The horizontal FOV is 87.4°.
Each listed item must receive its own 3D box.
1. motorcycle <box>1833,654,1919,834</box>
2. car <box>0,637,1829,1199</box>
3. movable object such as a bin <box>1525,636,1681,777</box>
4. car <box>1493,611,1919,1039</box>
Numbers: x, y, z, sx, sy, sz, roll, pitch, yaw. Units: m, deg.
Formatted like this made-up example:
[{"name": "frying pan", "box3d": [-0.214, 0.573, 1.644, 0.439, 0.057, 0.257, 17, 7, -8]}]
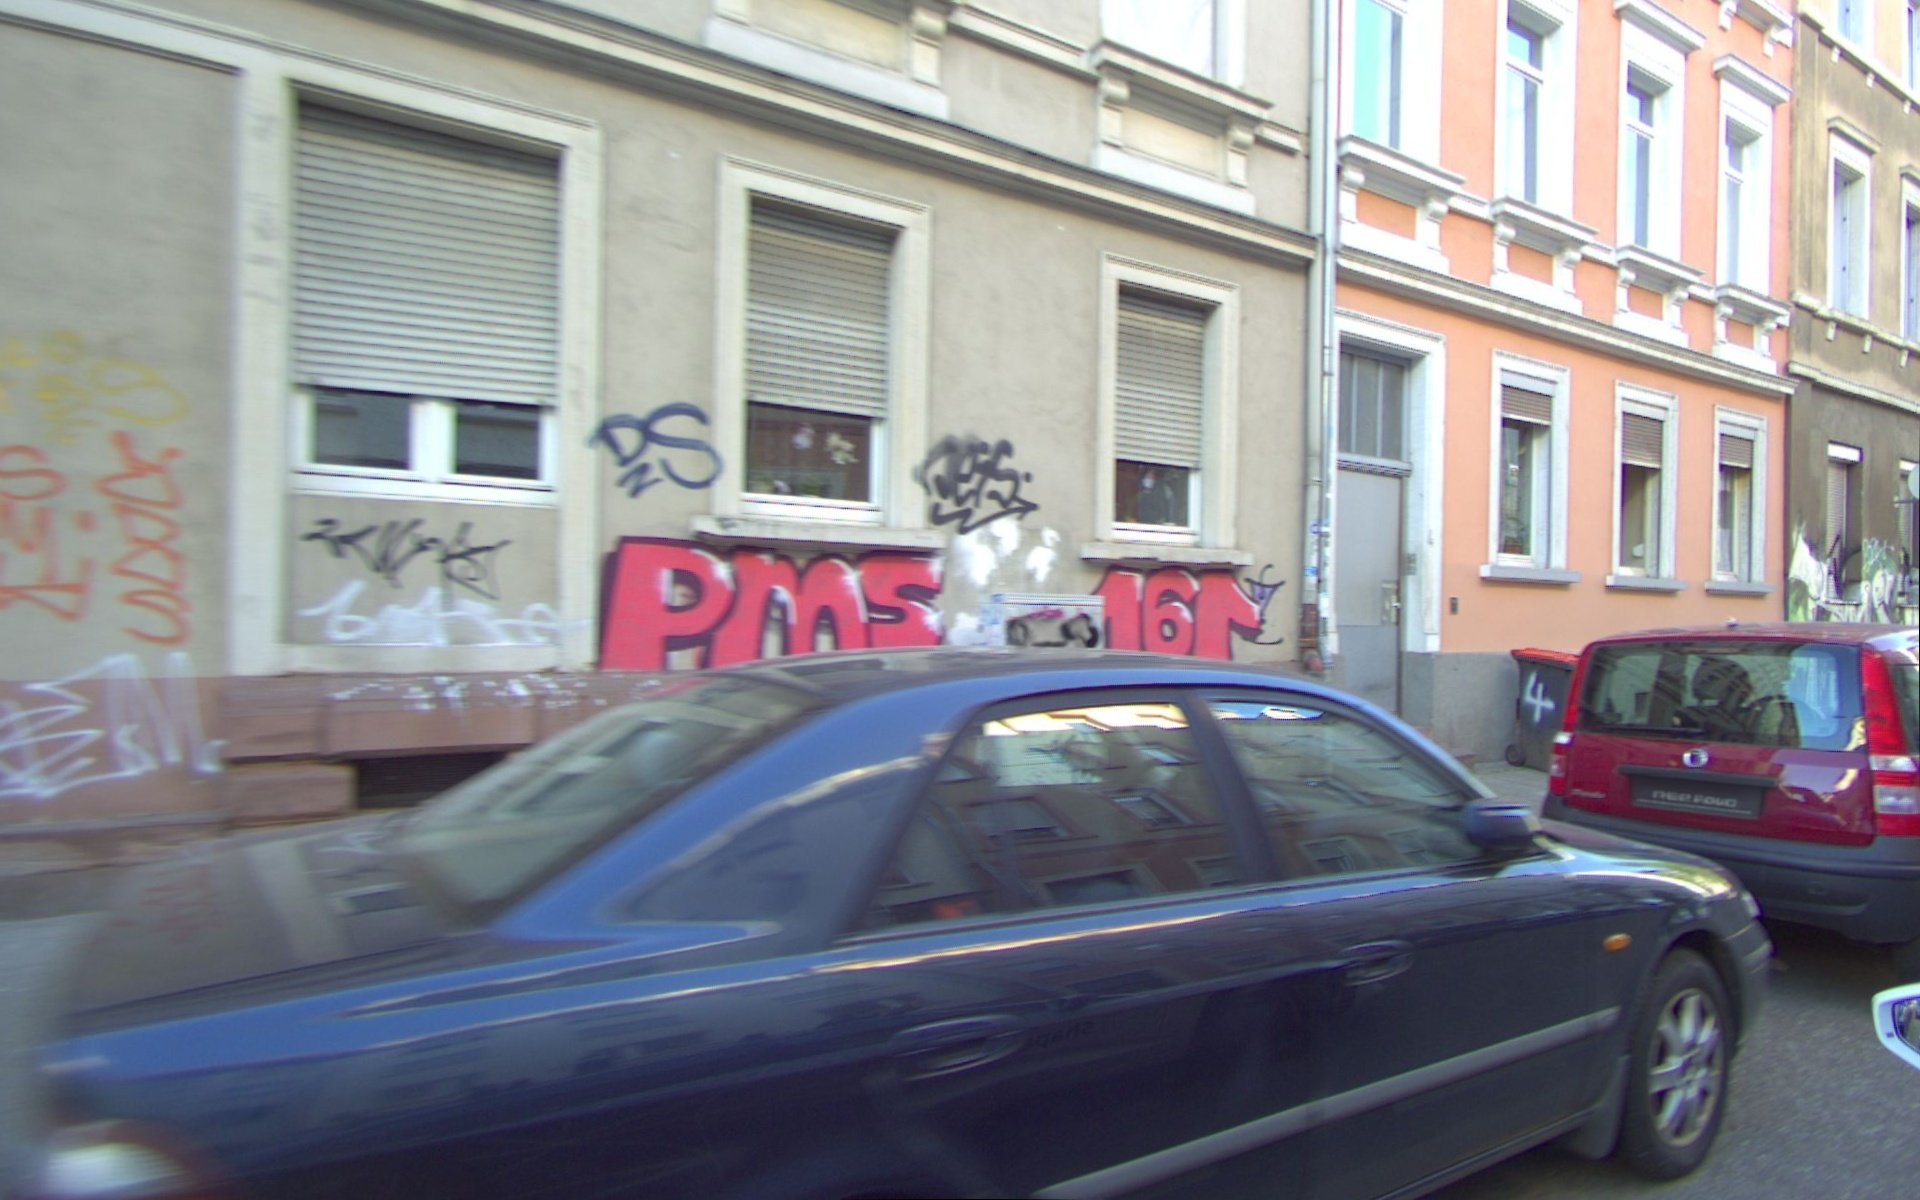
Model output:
[{"name": "motorcycle", "box3d": [7.475, 1.055, 7.209, 0.705, 1.272, 1.778, 1, -1, -43]}, {"name": "car", "box3d": [0.395, 0.833, 2.712, 4.251, 1.432, 1.698, 1, -1, -30]}, {"name": "movable object such as a bin", "box3d": [5.535, 0.905, 8.675, 0.706, 1.141, 0.832, 1, -5, -28]}, {"name": "car", "box3d": [4.491, 0.870, 5.212, 3.341, 1.550, 1.596, 1, -2, -32]}]
